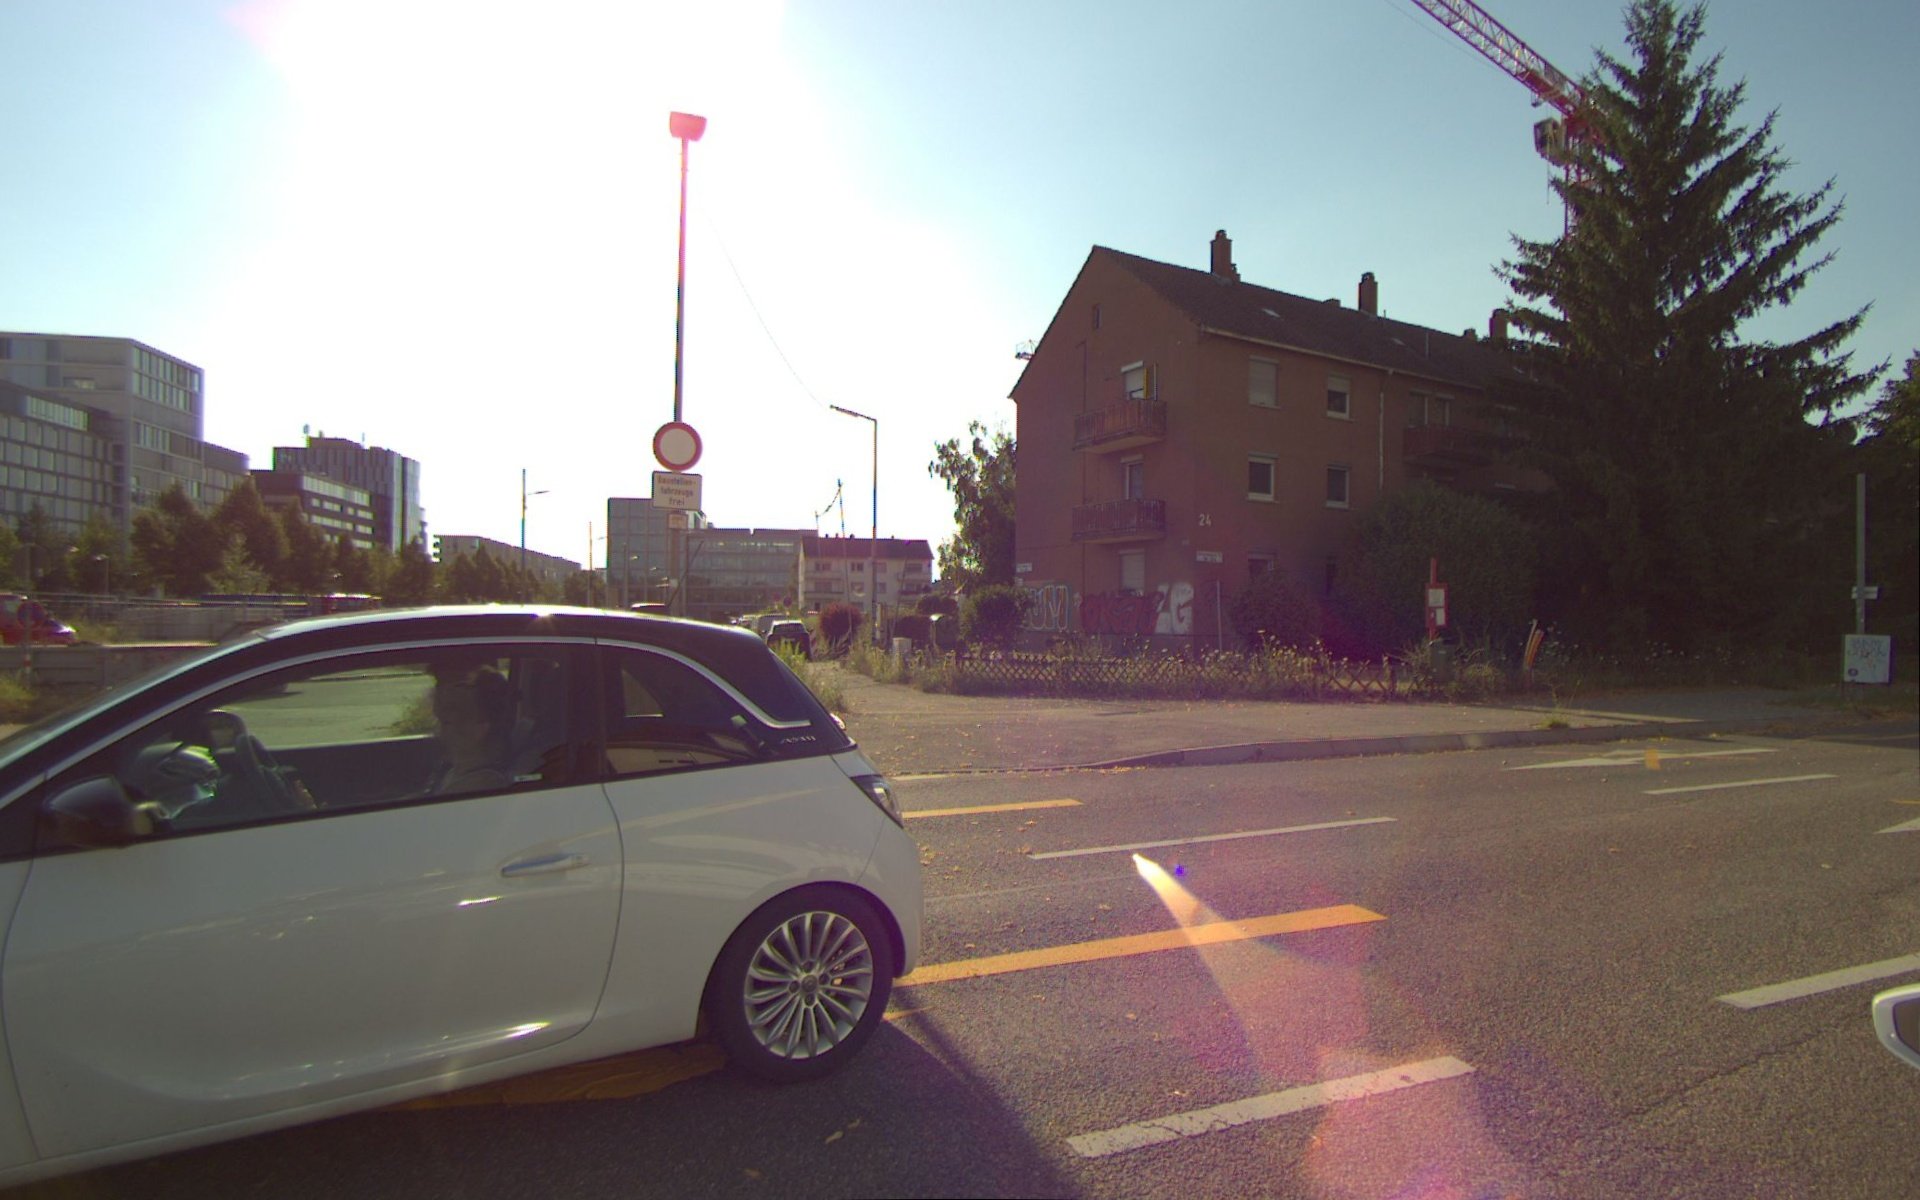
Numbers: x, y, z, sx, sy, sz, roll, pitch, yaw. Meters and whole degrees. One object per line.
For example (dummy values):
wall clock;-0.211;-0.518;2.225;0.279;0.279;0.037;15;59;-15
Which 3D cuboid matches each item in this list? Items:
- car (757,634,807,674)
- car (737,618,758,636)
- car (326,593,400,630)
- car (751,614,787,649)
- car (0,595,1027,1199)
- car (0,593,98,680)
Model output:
car;-7.588;2.252;42.831;1.964;1.572;3.993;0;-1;-10
car;-22.736;2.886;107.521;2.115;1.862;4.351;1;-1;-12
car;-42.170;0.854;71.154;2.489;2.472;5.925;1;-1;-9
car;-11.073;1.778;58.148;1.837;1.973;3.989;0;-1;-14
car;-1.755;0.729;3.225;3.583;1.440;1.750;1;0;-31
car;-23.652;0.849;23.447;1.959;2.040;5.317;0;-1;10
